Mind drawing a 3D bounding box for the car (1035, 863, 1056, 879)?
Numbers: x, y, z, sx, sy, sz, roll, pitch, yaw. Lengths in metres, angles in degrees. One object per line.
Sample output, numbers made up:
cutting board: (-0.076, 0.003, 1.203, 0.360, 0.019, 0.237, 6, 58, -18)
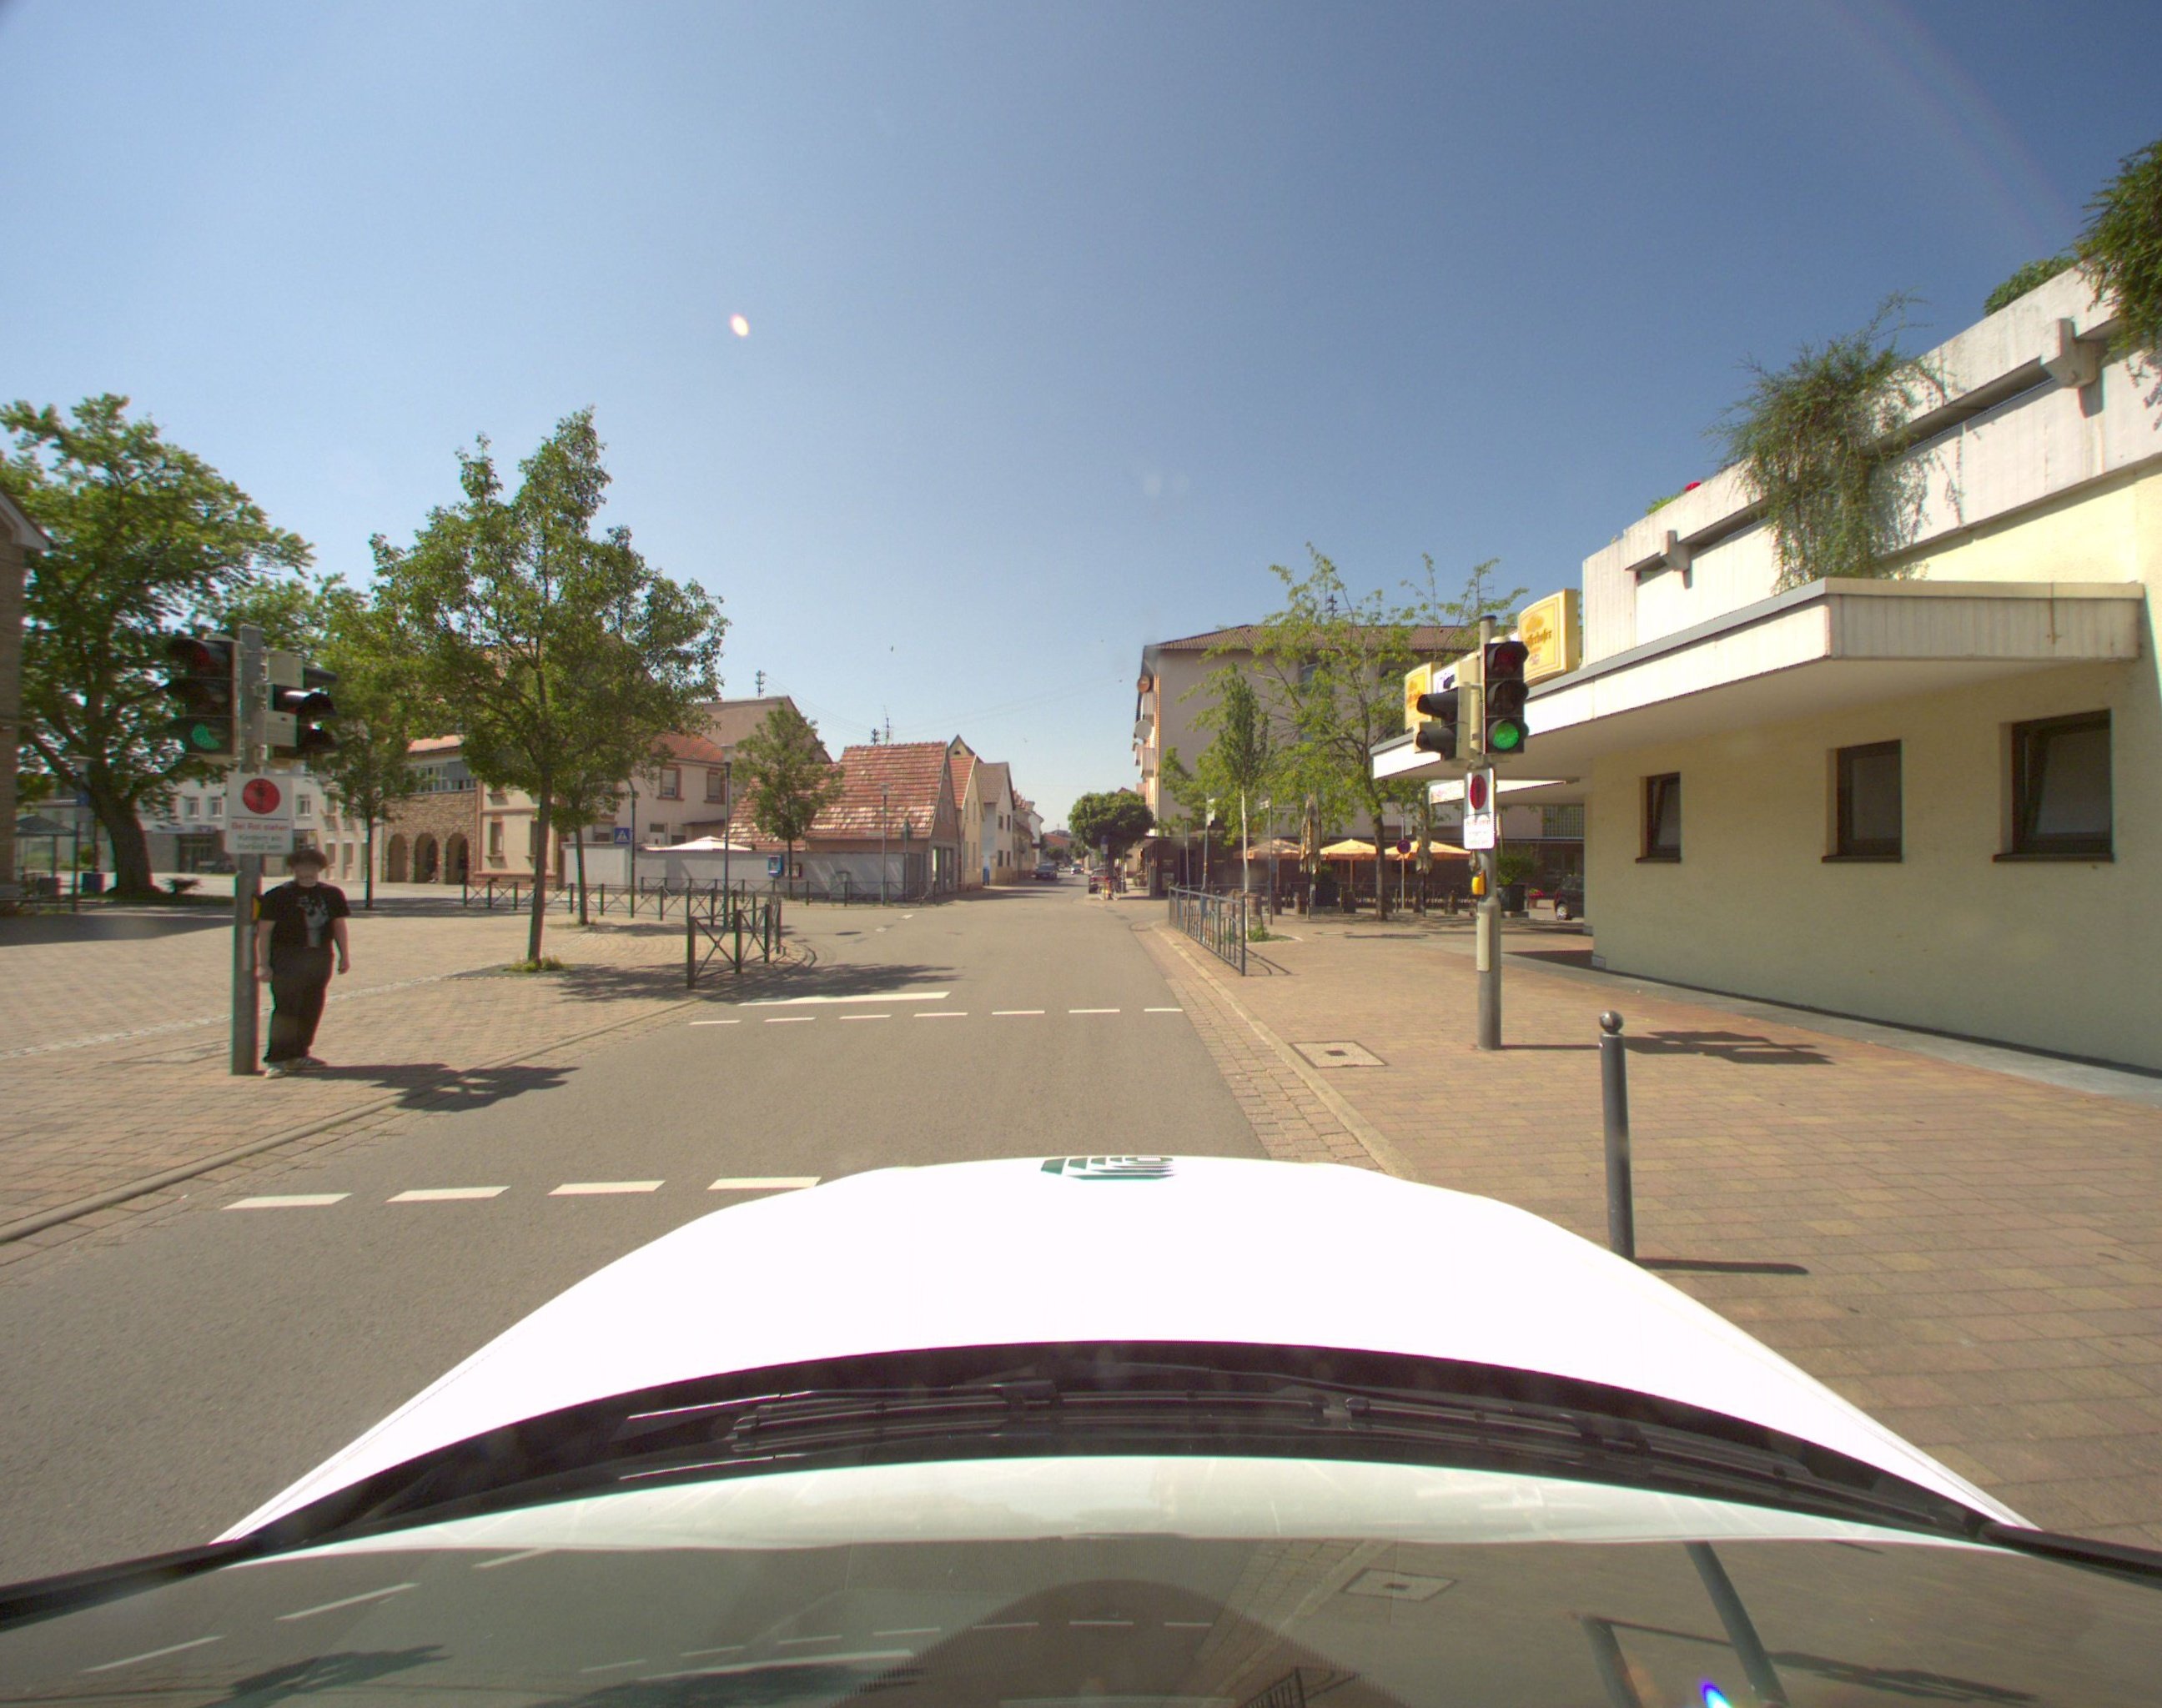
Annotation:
car: (-3.385, 1.653, 78.093, 1.657, 1.476, 4.135, 0, -1, 1)

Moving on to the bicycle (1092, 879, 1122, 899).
bicycle: (1.213, 1.643, 38.318, 1.396, 0.897, 0.468, -2, -1, 38)

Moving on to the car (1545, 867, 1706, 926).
car: (15.248, 1.157, 23.094, 1.763, 1.510, 3.965, 1, -1, -4)

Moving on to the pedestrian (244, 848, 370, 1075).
pedestrian: (-5.898, 0.774, 6.215, 0.543, 1.619, 0.561, -1, -2, 35)

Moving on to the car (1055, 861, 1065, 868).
car: (-4.530, 2.304, 178.492, 2.019, 1.598, 4.510, 0, -1, 2)

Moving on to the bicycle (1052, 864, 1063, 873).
bicycle: (-3.907, 2.332, 132.370, 1.620, 1.371, 3.920, 0, -1, -4)

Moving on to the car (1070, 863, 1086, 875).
car: (-0.425, 2.035, 110.049, 1.904, 1.481, 4.839, 0, -1, -2)

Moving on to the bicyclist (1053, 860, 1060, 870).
bicyclist: (-3.934, 1.807, 132.328, 1.044, 1.637, 1.127, 0, -1, -4)

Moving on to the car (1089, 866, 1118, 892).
car: (1.325, 1.402, 46.952, 1.569, 1.454, 3.489, -1, -1, 4)

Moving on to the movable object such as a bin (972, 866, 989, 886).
movable object such as a bin: (-6.981, 1.515, 56.748, 1.096, 1.366, 0.390, -1, -1, 5)

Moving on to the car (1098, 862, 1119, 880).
car: (2.718, 1.680, 80.808, 2.035, 1.689, 4.843, 0, -1, 2)
